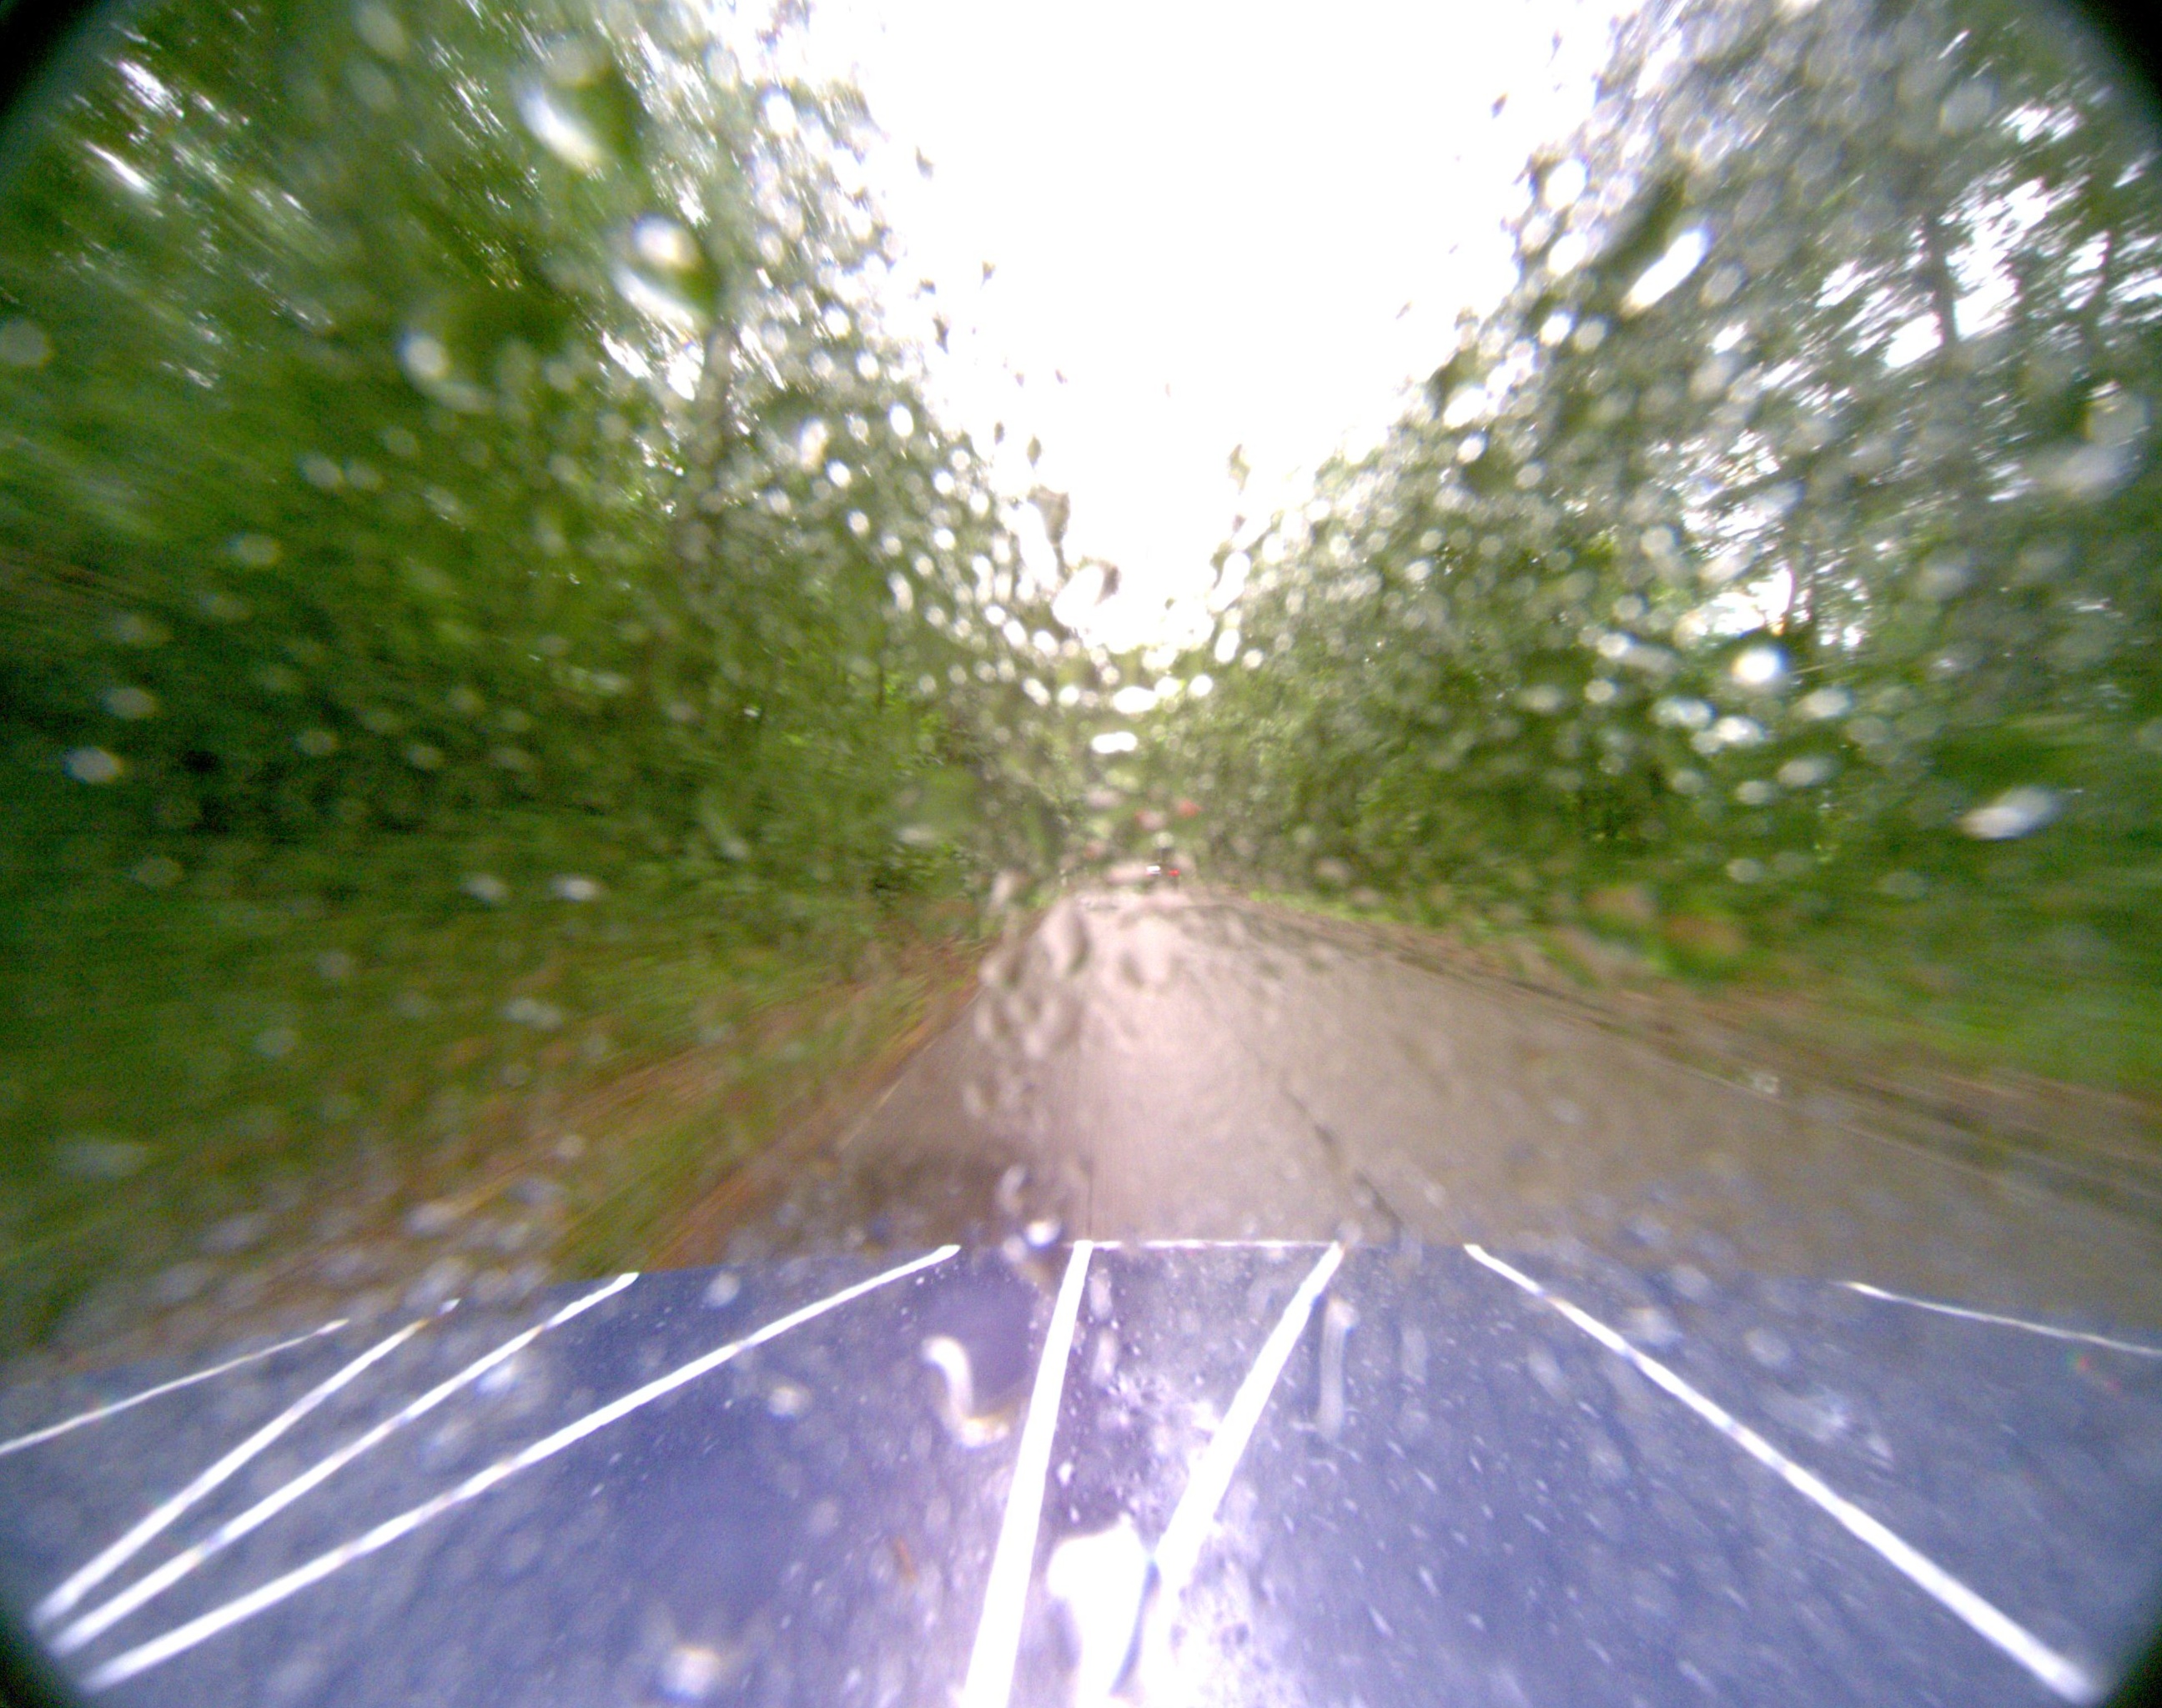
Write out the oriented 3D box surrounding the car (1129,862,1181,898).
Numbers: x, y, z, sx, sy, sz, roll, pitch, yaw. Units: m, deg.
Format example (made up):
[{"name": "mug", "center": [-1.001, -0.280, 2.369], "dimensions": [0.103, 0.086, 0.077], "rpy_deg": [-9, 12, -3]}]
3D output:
[{"name": "car", "center": [3.374, 1.144, 35.324], "dimensions": [1.719, 1.467, 3.889], "rpy_deg": [-4, 0, -4]}]
